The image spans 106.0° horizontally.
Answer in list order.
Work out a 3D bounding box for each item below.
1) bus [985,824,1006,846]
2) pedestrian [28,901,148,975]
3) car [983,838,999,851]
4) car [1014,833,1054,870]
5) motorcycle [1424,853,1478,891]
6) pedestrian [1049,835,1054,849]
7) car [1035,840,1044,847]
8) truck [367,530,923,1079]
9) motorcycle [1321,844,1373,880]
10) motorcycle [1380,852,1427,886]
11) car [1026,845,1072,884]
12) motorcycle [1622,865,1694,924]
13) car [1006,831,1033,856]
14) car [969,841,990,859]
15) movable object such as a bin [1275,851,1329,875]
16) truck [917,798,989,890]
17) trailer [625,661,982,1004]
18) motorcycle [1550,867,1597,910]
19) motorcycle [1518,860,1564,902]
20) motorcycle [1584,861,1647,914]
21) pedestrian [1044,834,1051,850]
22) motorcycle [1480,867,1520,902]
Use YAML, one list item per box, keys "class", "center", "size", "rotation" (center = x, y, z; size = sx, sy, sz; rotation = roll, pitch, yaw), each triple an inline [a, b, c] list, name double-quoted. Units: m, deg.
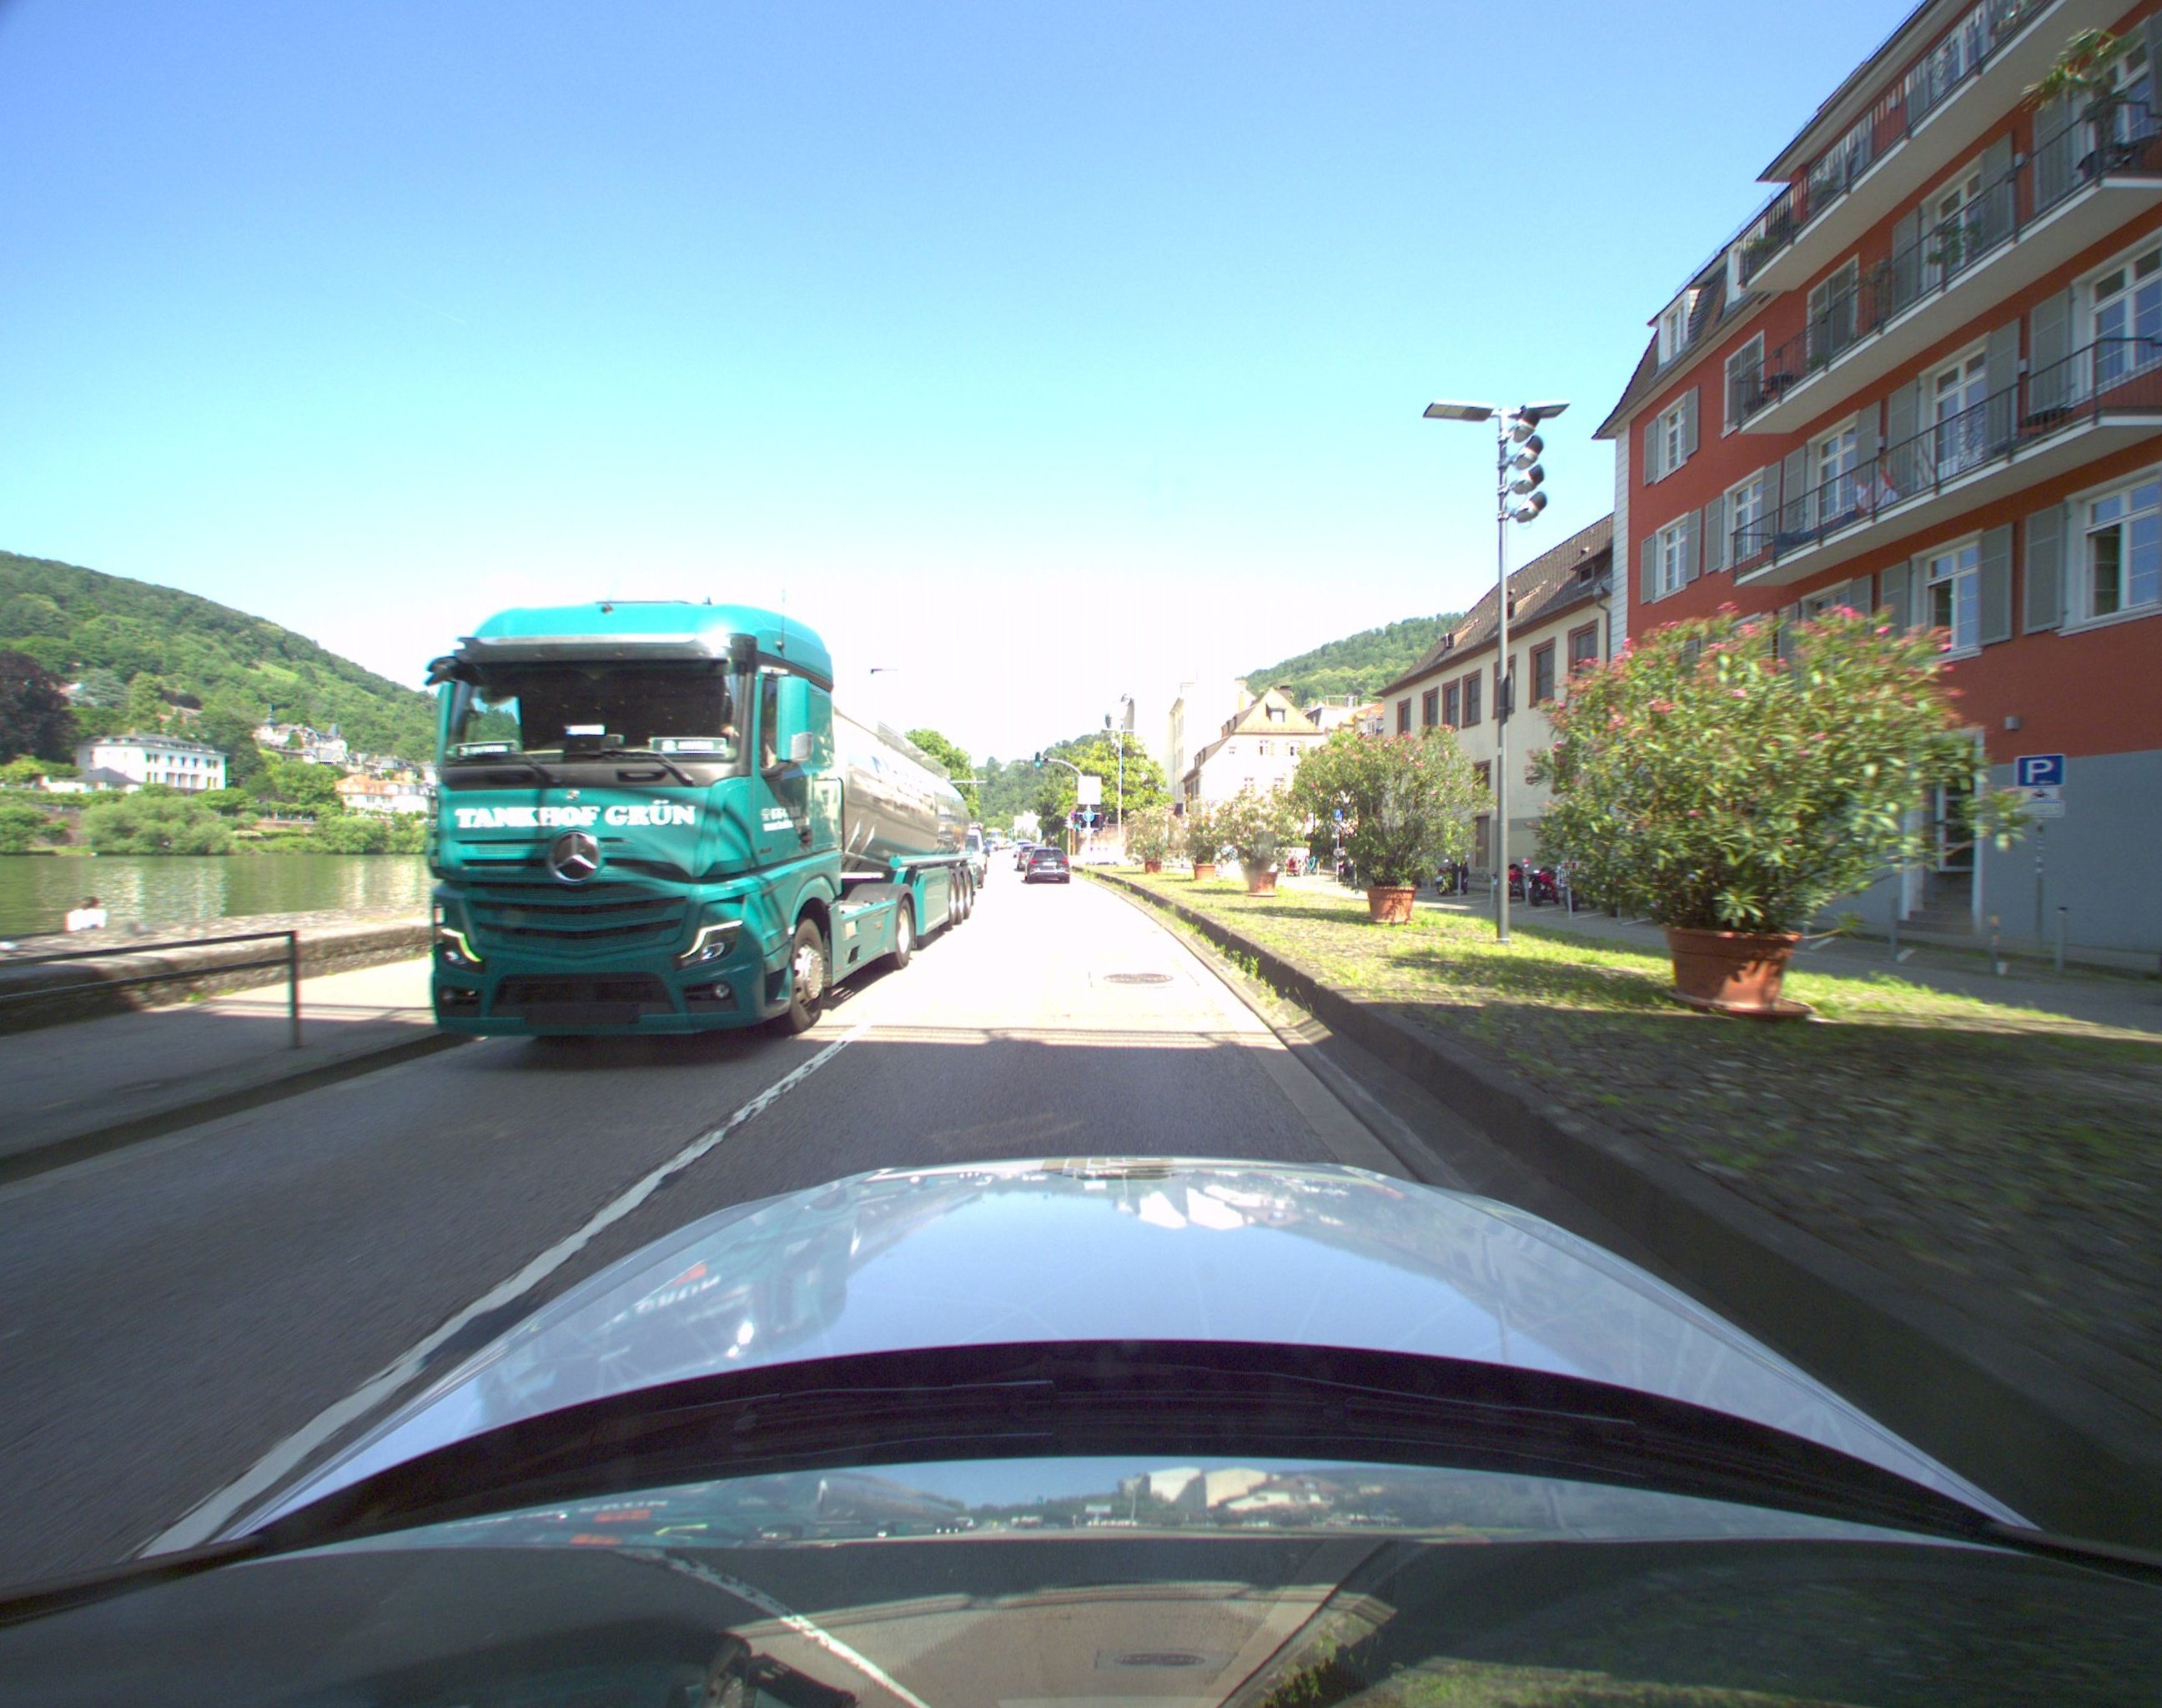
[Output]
- class: "bus"
  center: [-11.650, -2.564, 111.691]
  size: [2.592, 2.896, 8.435]
  rotation: [0, 1, -4]
- class: "pedestrian"
  center: [-16.535, 1.380, 13.584]
  size: [0.962, 1.130, 0.831]
  rotation: [0, 1, 3]
- class: "car"
  center: [-10.453, -1.135, 94.773]
  size: [1.807, 1.406, 4.347]
  rotation: [0, 1, -7]
- class: "car"
  center: [-2.754, -0.114, 46.743]
  size: [1.992, 2.014, 3.989]
  rotation: [0, -1, -8]
- class: "motorcycle"
  center: [13.007, 0.624, 28.570]
  size: [2.193, 1.267, 0.774]
  rotation: [0, 0, -37]
- class: "pedestrian"
  center: [-3.326, -1.376, 91.746]
  size: [0.455, 1.606, 0.578]
  rotation: [0, 0, -4]
- class: "car"
  center: [-8.935, -2.208, 174.831]
  size: [1.989, 1.453, 4.003]
  rotation: [-1, -1, -4]
- class: "truck"
  center: [-3.622, -0.394, 8.786]
  size: [2.516, 3.748, 6.245]
  rotation: [-2, 1, 0]
- class: "motorcycle"
  center: [12.003, 0.343, 36.647]
  size: [2.510, 1.532, 1.041]
  rotation: [-2, 1, -40]
- class: "motorcycle"
  center: [12.481, 0.569, 31.478]
  size: [2.208, 1.267, 0.621]
  rotation: [0, 0, -37]
- class: "car"
  center: [-1.413, 0.411, 34.918]
  size: [1.853, 1.523, 3.995]
  rotation: [-1, 1, -4]
- class: "motorcycle"
  center: [13.516, 0.905, 19.057]
  size: [2.557, 1.233, 0.832]
  rotation: [-1, 1, -42]
- class: "car"
  center: [-5.381, -0.849, 70.530]
  size: [1.992, 2.013, 3.989]
  rotation: [3, 0, -8]
- class: "car"
  center: [-9.233, -0.381, 73.696]
  size: [1.808, 1.508, 3.989]
  rotation: [0, 1, -8]
- class: "movable object such as a bin"
  center: [11.312, 0.431, 41.568]
  size: [2.972, 1.110, 1.243]
  rotation: [-1, 1, -42]
- class: "truck"
  center: [-5.091, -0.433, 33.515]
  size: [2.373, 3.261, 7.595]
  rotation: [-3, 1, -6]
- class: "trailer"
  center: [-3.678, -0.299, 14.521]
  size: [2.516, 3.644, 11.526]
  rotation: [-1, 1, -1]
- class: "motorcycle"
  center: [13.703, 0.931, 22.626]
  size: [0.620, 1.076, 2.211]
  rotation: [0, 1, 45]
- class: "motorcycle"
  center: [13.660, 0.784, 24.142]
  size: [0.620, 1.148, 2.211]
  rotation: [0, 1, 45]
- class: "motorcycle"
  center: [13.814, 0.832, 21.025]
  size: [2.165, 1.233, 0.832]
  rotation: [-1, 1, -42]
- class: "pedestrian"
  center: [-3.733, -1.336, 90.290]
  size: [0.679, 1.742, 0.911]
  rotation: [0, 0, -5]
- class: "motorcycle"
  center: [13.040, 0.924, 25.309]
  size: [0.540, 0.986, 1.943]
  rotation: [0, 1, 45]
